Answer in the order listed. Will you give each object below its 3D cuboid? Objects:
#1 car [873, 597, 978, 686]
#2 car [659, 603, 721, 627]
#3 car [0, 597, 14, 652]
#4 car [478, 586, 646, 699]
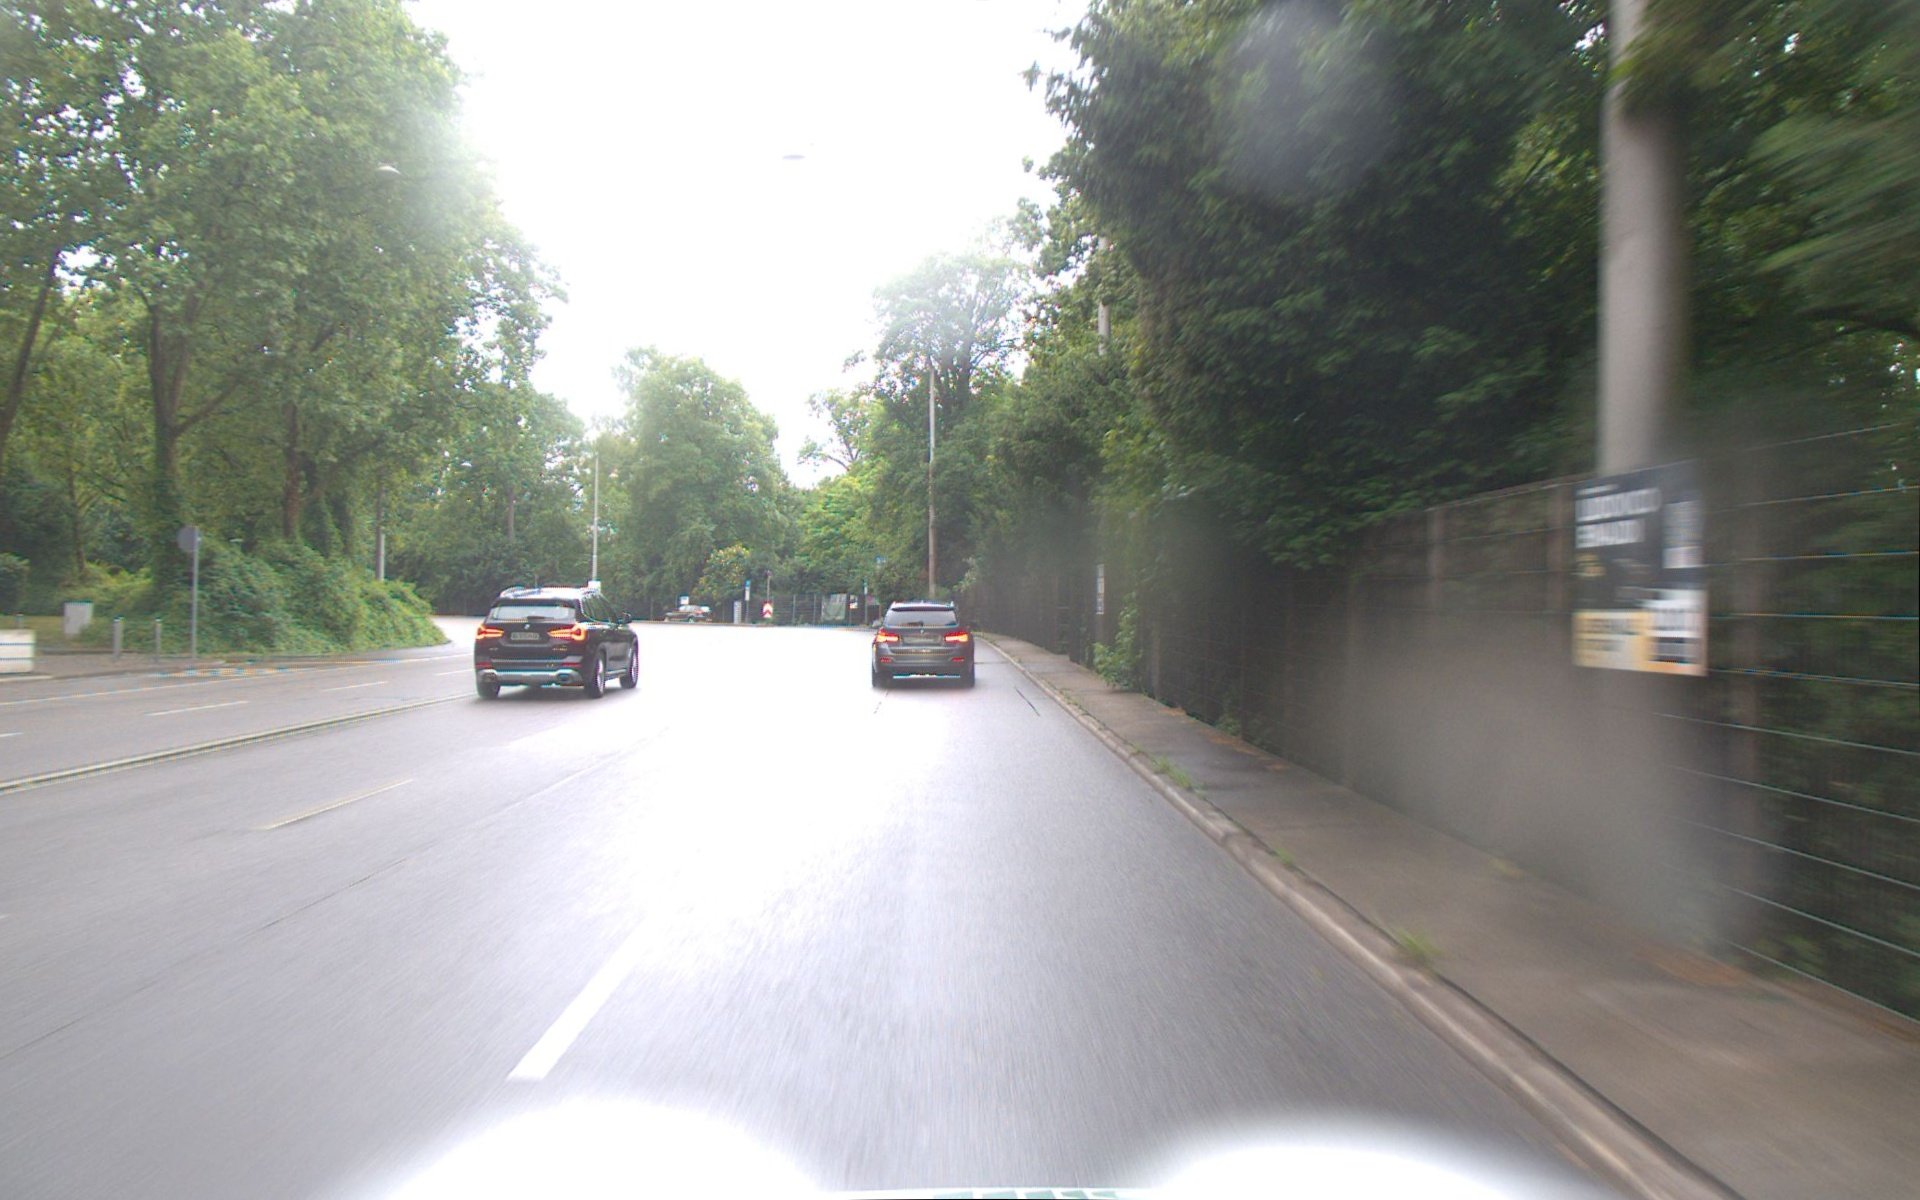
[{"bbox_3d":[-0.641,0.689,29.589,1.722,1.457,4.410,1,0,-2],"label":"car"},{"bbox_3d":[-17.918,0.974,109.671,4.293,1.451,1.682,1,-3,42],"label":"car"},{"bbox_3d":[-26.474,0.642,42.439,3.419,1.400,1.780,0,1,8],"label":"car"},{"bbox_3d":[-6.218,0.623,26.344,1.722,1.613,4.410,1,0,-2],"label":"car"}]
